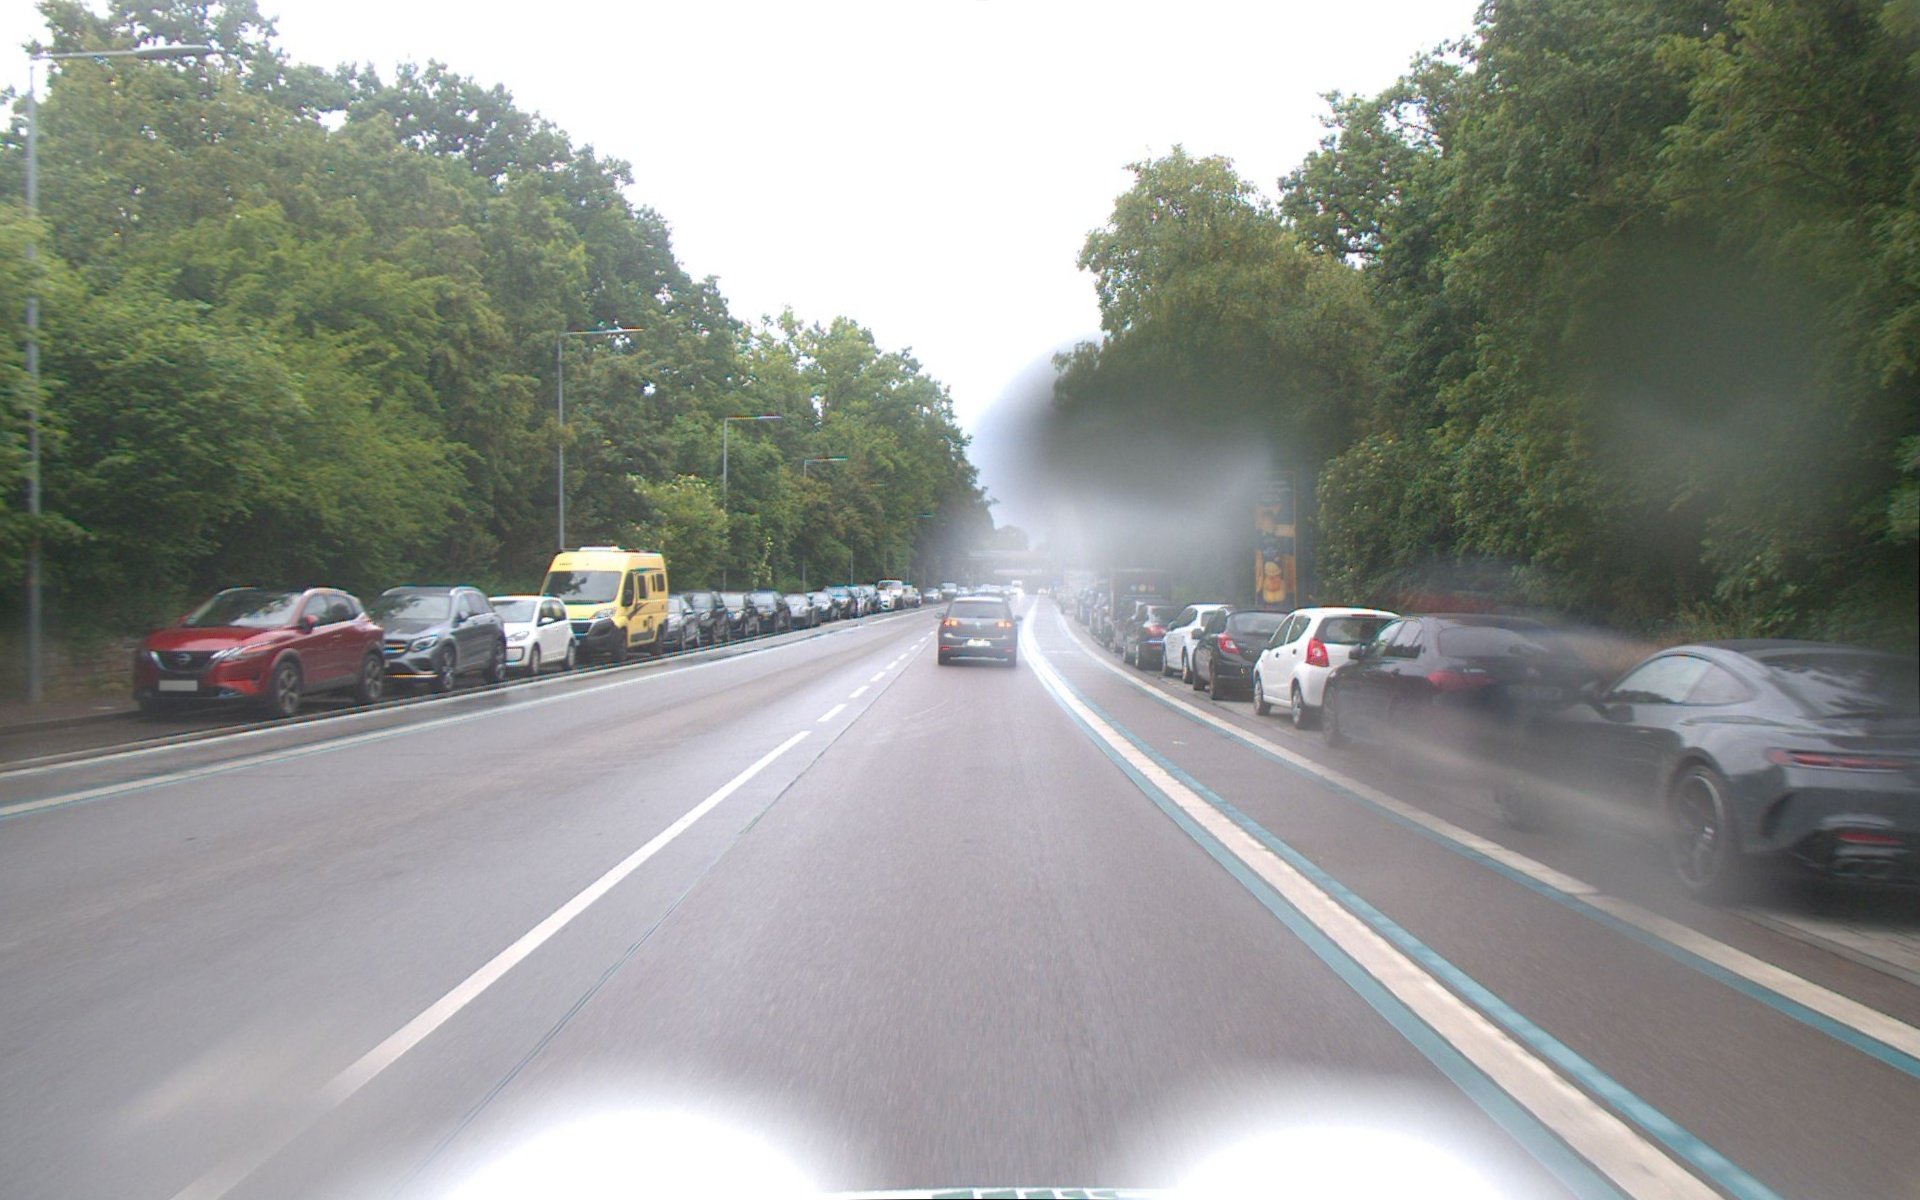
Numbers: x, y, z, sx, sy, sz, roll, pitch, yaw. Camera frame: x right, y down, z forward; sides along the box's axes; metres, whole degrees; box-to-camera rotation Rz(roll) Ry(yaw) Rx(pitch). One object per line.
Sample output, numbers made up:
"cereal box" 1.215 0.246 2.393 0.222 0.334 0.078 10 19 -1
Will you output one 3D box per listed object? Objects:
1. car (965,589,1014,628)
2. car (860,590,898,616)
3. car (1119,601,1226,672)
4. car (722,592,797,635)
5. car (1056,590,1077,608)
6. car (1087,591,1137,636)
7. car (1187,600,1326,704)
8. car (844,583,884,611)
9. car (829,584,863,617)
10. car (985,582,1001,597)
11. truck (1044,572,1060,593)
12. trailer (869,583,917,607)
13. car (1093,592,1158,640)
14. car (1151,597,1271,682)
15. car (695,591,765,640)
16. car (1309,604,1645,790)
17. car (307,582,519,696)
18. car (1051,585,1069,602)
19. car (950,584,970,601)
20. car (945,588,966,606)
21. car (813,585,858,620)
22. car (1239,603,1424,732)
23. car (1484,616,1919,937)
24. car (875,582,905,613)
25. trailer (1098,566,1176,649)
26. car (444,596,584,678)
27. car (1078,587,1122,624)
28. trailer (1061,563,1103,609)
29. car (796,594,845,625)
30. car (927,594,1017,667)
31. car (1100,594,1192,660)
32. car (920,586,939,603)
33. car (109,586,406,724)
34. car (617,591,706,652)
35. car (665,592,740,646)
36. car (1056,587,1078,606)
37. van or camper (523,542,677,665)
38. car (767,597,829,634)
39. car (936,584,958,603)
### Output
"car" 1.203 0.320 68.990 1.842 1.491 4.000 2 1 -1
"car" -5.003 0.167 102.898 1.952 1.514 4.470 0 0 3
"car" 4.686 0.773 37.046 1.716 1.418 4.445 2 0 -1
"car" -7.174 0.460 59.532 1.952 1.477 4.140 0 1 4
"car" 9.494 -0.101 147.738 1.858 1.634 4.002 0 1 3
"car" 5.389 0.451 59.143 1.581 1.496 4.002 1 0 3
"car" 4.796 0.789 27.206 1.624 1.490 3.901 2 0 2
"car" -5.574 -0.166 96.418 1.840 1.589 4.470 0 0 3
"car" -5.784 0.011 84.000 1.430 1.598 2.985 0 0 1
"car" 4.029 -1.289 200.778 1.784 1.736 3.858 1 0 2
"truck" 12.056 -2.298 217.881 2.068 2.644 4.302 0 0 3
"trailer" -4.782 -0.356 118.139 1.596 1.657 3.662 0 1 33
"car" 5.313 0.476 53.520 1.758 1.475 4.429 0 0 1
"car" 4.833 0.714 32.272 1.585 1.492 3.999 2 0 -2
"car" -7.608 0.479 55.036 1.569 1.536 3.978 0 1 3
"car" 4.828 0.815 16.219 1.818 1.480 4.751 1 0 0
"car" -8.937 0.565 27.476 1.952 1.730 4.616 0 0 0
"car" 12.244 -0.743 202.795 1.952 2.049 4.001 0 0 1
"car" 0.022 -0.968 207.606 2.113 2.049 5.033 0 1 3
"car" -0.504 -0.357 190.660 2.113 2.049 5.033 0 1 3
"car" -5.969 0.107 79.549 1.661 1.611 4.140 0 1 3
"car" 4.768 0.812 21.683 1.528 1.486 3.675 1 0 -1
"car" 4.823 0.861 9.888 1.815 1.423 4.383 2 0 -2
"car" -4.776 -0.171 113.281 1.900 2.049 4.740 0 1 0
"trailer" 5.102 0.172 48.131 1.866 2.287 4.769 1 1 2
"car" -8.683 0.677 32.470 1.584 1.474 3.658 -1 0 3
"car" 6.038 0.221 71.817 1.647 1.507 4.320 1 1 2
"trailer" 6.932 -0.804 94.682 2.088 2.605 4.297 0 0 0
"car" -6.254 0.418 74.390 1.661 1.323 4.194 0 1 3
"car" 0.260 0.666 36.633 1.833 1.466 4.296 2 -1 0
"car" 4.729 0.653 42.522 1.785 1.511 4.199 2 0 -1
"car" -2.914 -0.534 158.249 1.638 1.540 3.631 1 1 2
"car" -9.169 0.648 22.054 1.879 1.645 4.491 -1 0 3
"car" -7.993 0.550 44.621 1.645 1.524 4.149 -1 0 0
"car" -7.698 0.535 49.685 1.569 1.536 3.140 0 1 3
"car" 9.228 -0.340 143.123 1.858 1.634 4.002 0 1 3
"van or camper" -8.313 0.040 38.780 2.099 2.673 5.685 0 0 3
"car" -6.307 0.587 64.666 1.831 1.326 4.471 0 1 2
"car" -1.412 -0.767 182.607 2.113 2.049 5.033 0 1 3
